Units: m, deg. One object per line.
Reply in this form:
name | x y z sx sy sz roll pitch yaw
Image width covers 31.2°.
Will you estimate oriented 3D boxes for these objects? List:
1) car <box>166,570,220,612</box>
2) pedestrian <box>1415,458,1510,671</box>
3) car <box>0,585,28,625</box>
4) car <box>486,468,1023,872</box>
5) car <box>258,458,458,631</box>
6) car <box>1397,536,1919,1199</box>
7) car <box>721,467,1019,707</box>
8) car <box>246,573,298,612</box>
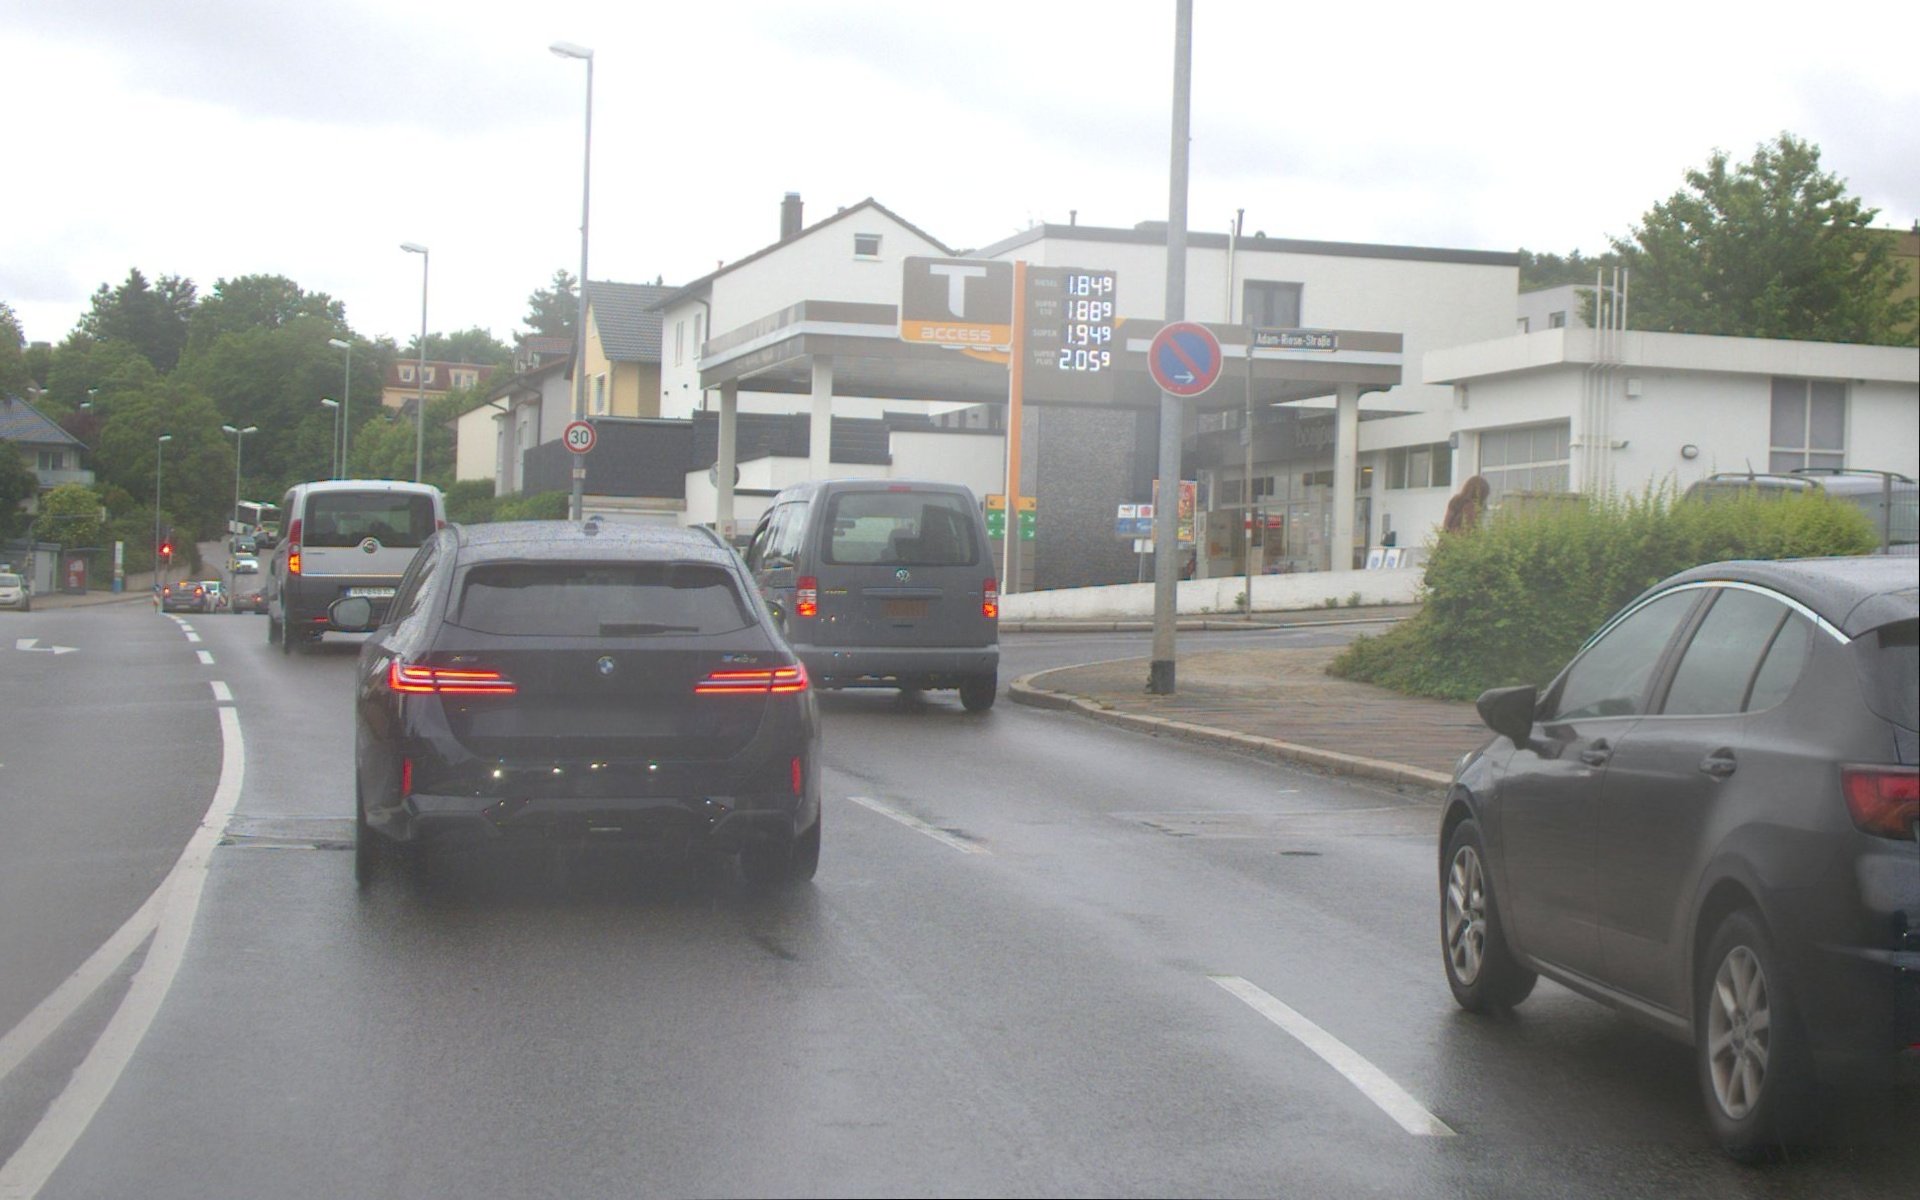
car | -33.472 -0.382 150.081 1.993 1.735 4.001 2 -1 -9
pedestrian | 4.831 -0.334 33.075 0.715 2.007 0.615 2 -1 -4
car | -38.974 0.203 139.733 1.884 1.580 4.001 2 -1 -13
car | -1.046 0.298 15.142 1.993 1.479 4.001 2 -1 -8
car | -6.670 -0.559 37.937 1.993 1.732 4.001 2 -1 -11
car | 2.544 0.586 9.436 1.756 1.444 4.001 2 1 -6
car | -0.822 -0.076 28.275 1.838 1.761 4.001 2 -1 -10
car | -32.056 -0.344 160.156 1.993 1.735 4.001 2 -1 -16
